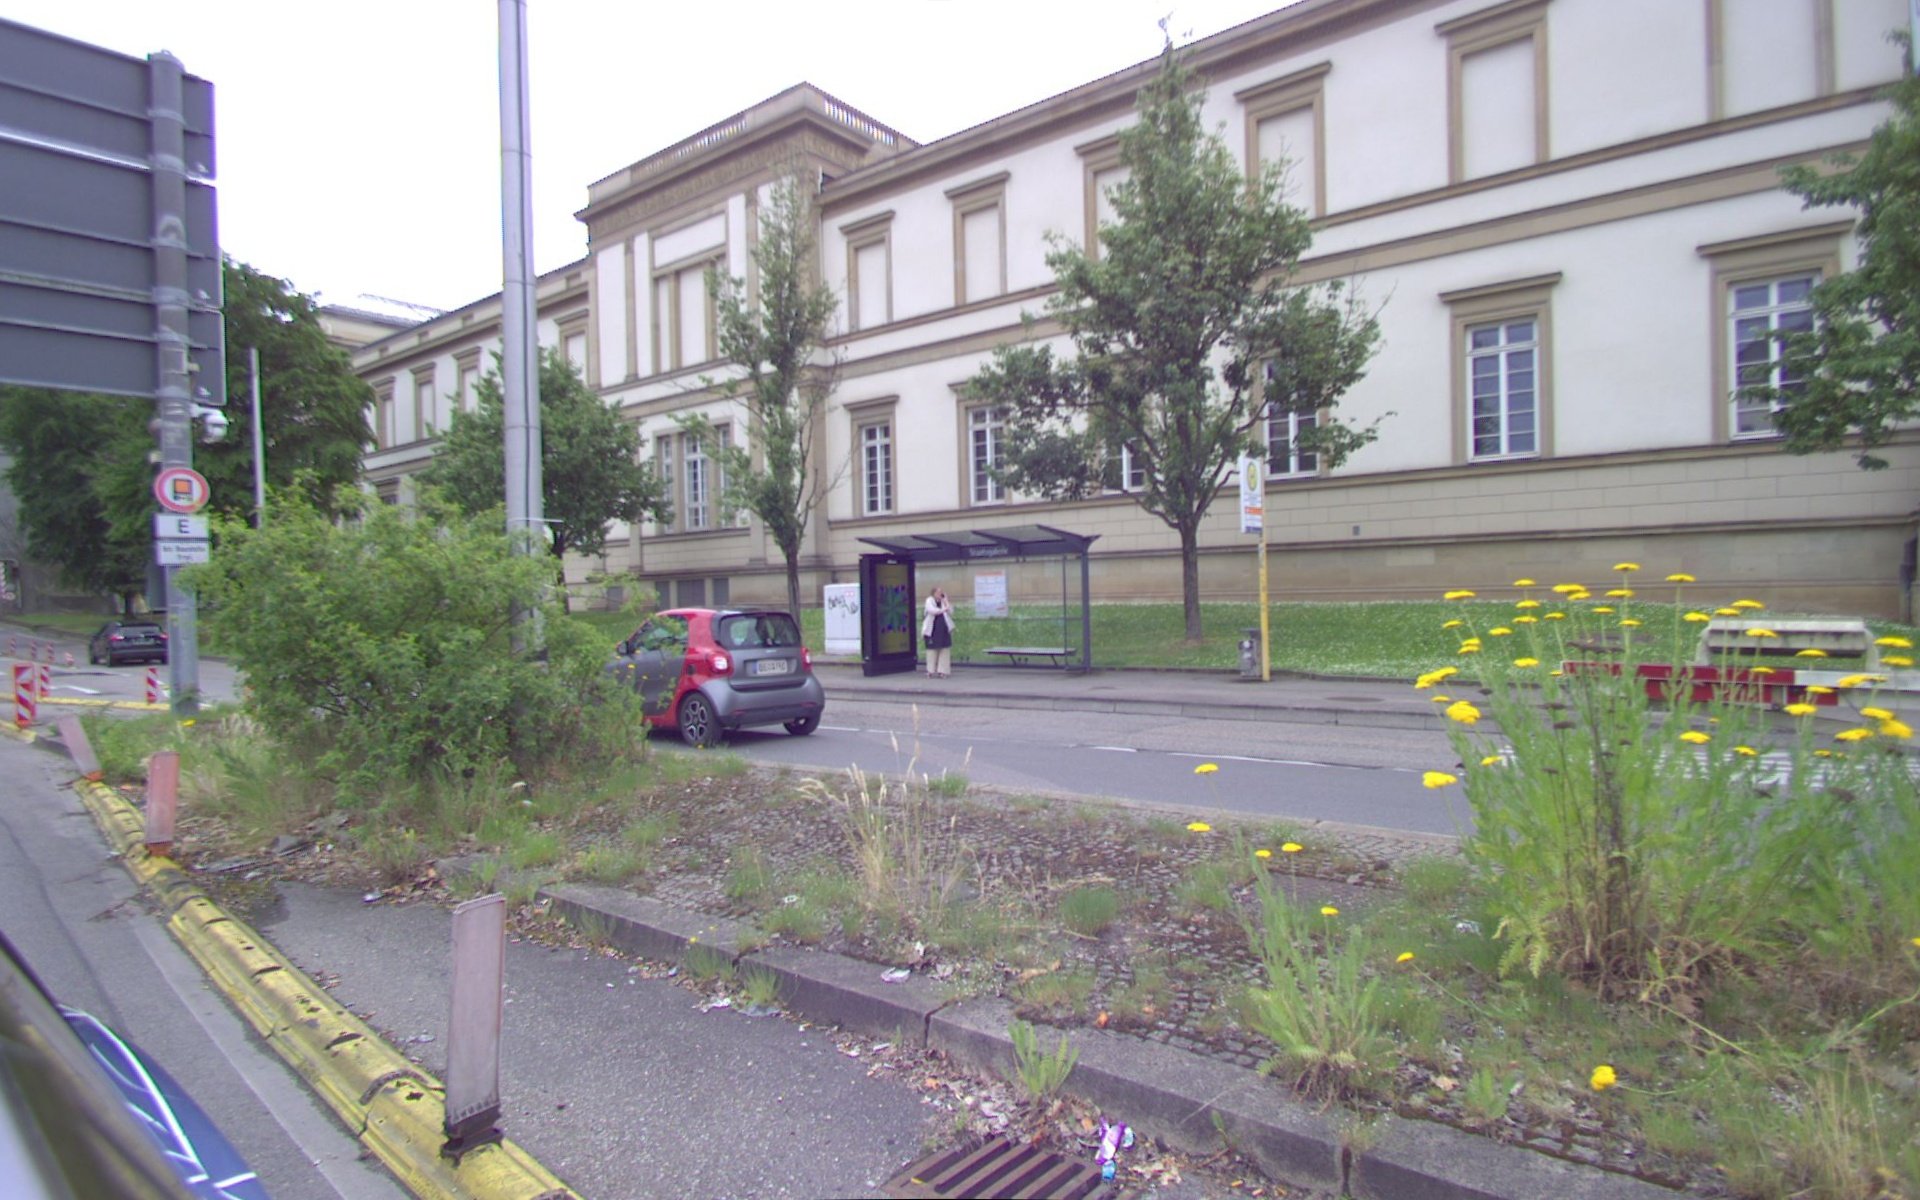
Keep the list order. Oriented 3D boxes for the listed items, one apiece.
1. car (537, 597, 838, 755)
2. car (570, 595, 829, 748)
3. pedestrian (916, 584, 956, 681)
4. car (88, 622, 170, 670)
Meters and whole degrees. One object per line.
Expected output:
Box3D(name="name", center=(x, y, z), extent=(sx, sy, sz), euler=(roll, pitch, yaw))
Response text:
Box3D(name="car", center=(-3.375, 0.814, 12.162), extent=(3.880, 1.603, 1.646), euler=(-2, -1, 42))
Box3D(name="car", center=(-3.081, 0.763, 11.832), extent=(2.819, 1.563, 1.520), euler=(-2, -1, 37))
Box3D(name="pedestrian", center=(-0.443, 0.583, 18.229), extent=(0.578, 1.708, 0.460), euler=(-1, 0, -16))
Box3D(name="car", center=(-29.370, 1.600, 35.745), extent=(3.880, 1.603, 1.646), euler=(-2, -1, 42))
